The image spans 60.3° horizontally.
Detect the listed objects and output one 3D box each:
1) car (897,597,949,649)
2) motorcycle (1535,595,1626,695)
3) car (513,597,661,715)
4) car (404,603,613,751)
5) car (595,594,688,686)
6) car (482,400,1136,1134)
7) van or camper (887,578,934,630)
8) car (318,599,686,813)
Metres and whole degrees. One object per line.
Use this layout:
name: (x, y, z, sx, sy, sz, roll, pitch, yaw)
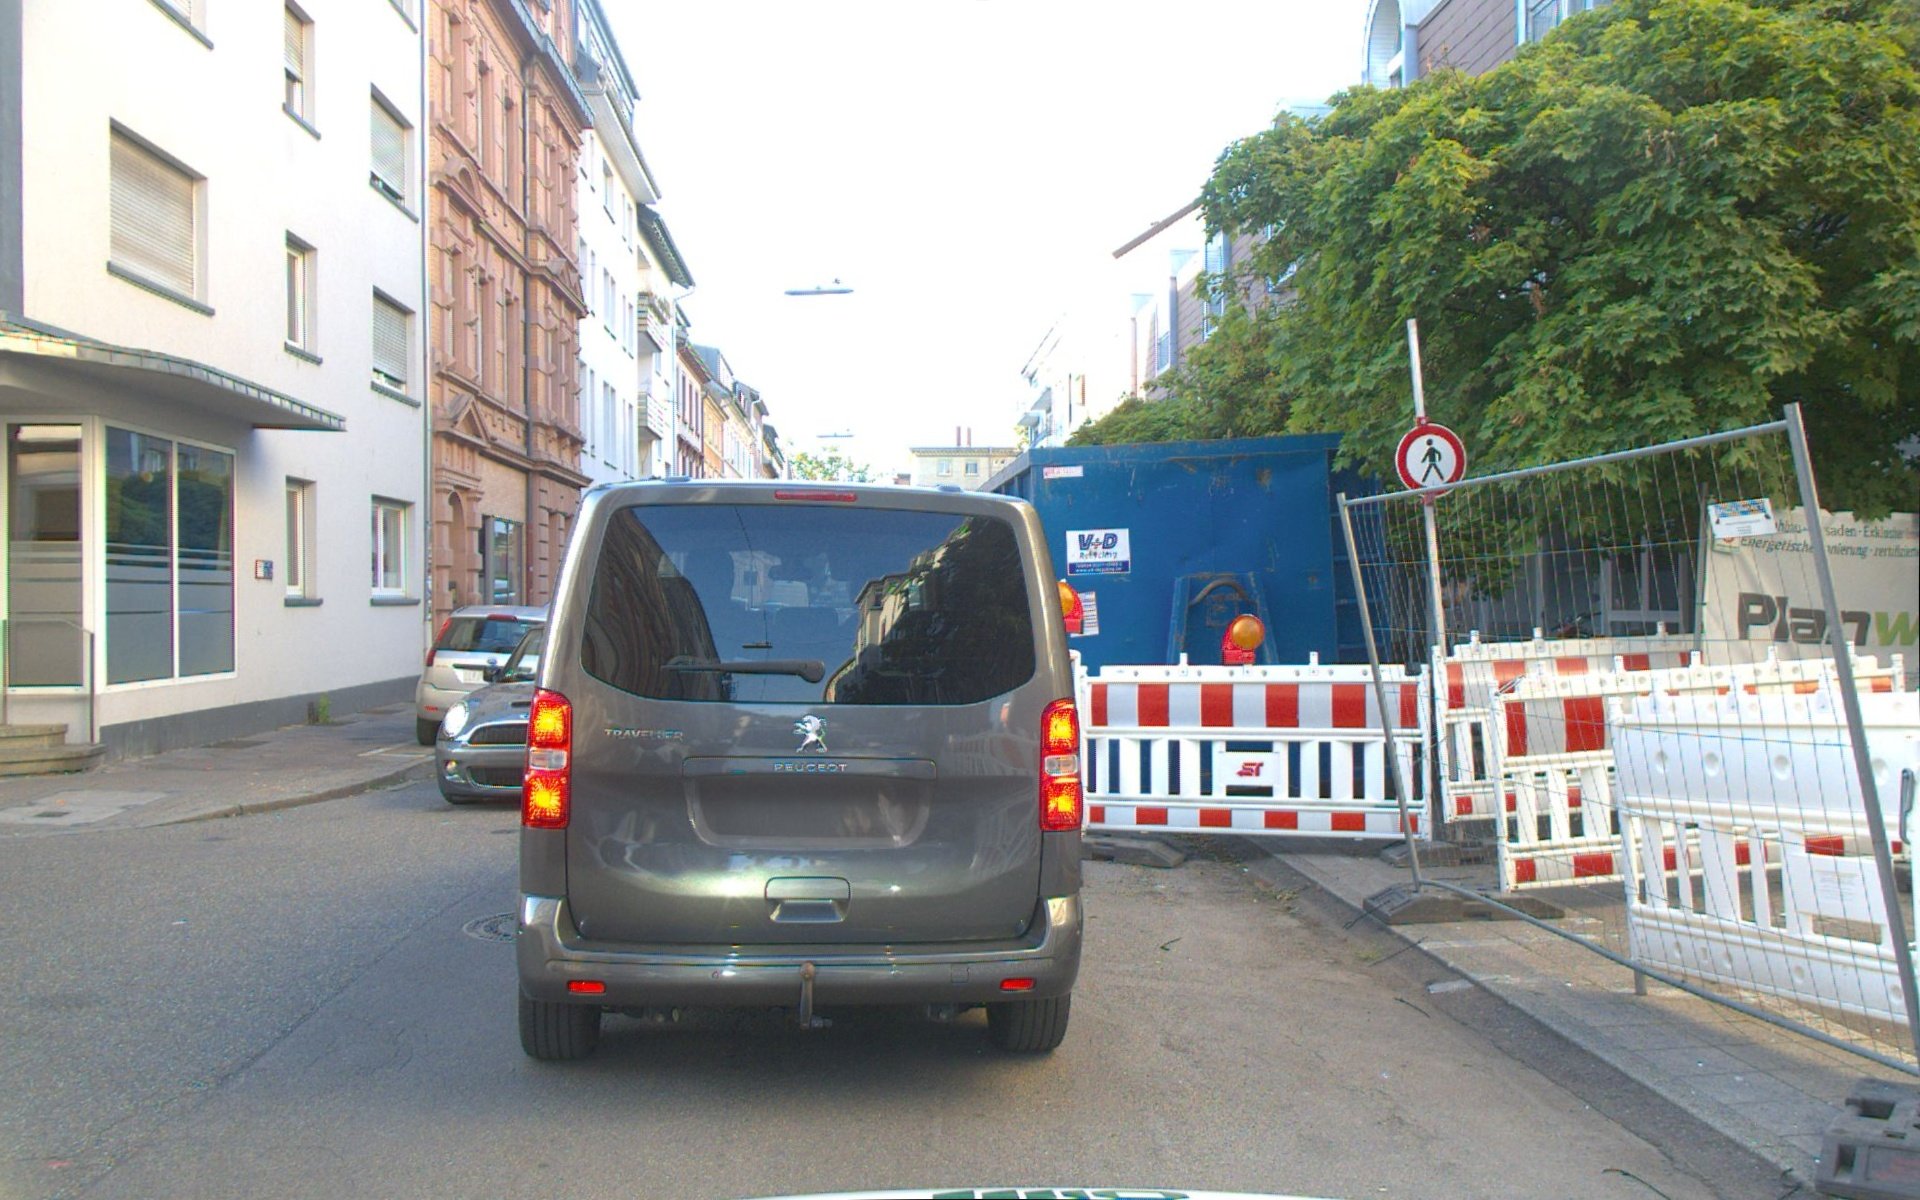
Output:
car: (-1.280, 0.767, 57.374, 1.713, 1.713, 4.524, 0, 0, -1)
motorcycle: (8.214, 0.580, 21.980, 0.851, 1.244, 2.459, -1, -1, 14)
car: (-5.318, 0.754, 23.969, 1.525, 1.535, 3.594, 2, 0, -4)
car: (-4.875, 0.768, 18.288, 1.600, 1.455, 3.551, 0, 0, -5)
car: (-5.851, 0.704, 30.622, 1.368, 1.616, 2.791, 0, 0, -4)
car: (-0.568, 0.464, 6.810, 1.821, 2.049, 3.997, -2, 0, -4)
van or camper: (-2.763, 0.219, 90.160, 2.059, 2.647, 7.504, -1, 0, -5)
car: (-3.575, 0.752, 13.715, 1.953, 1.512, 4.000, 0, 0, 0)
